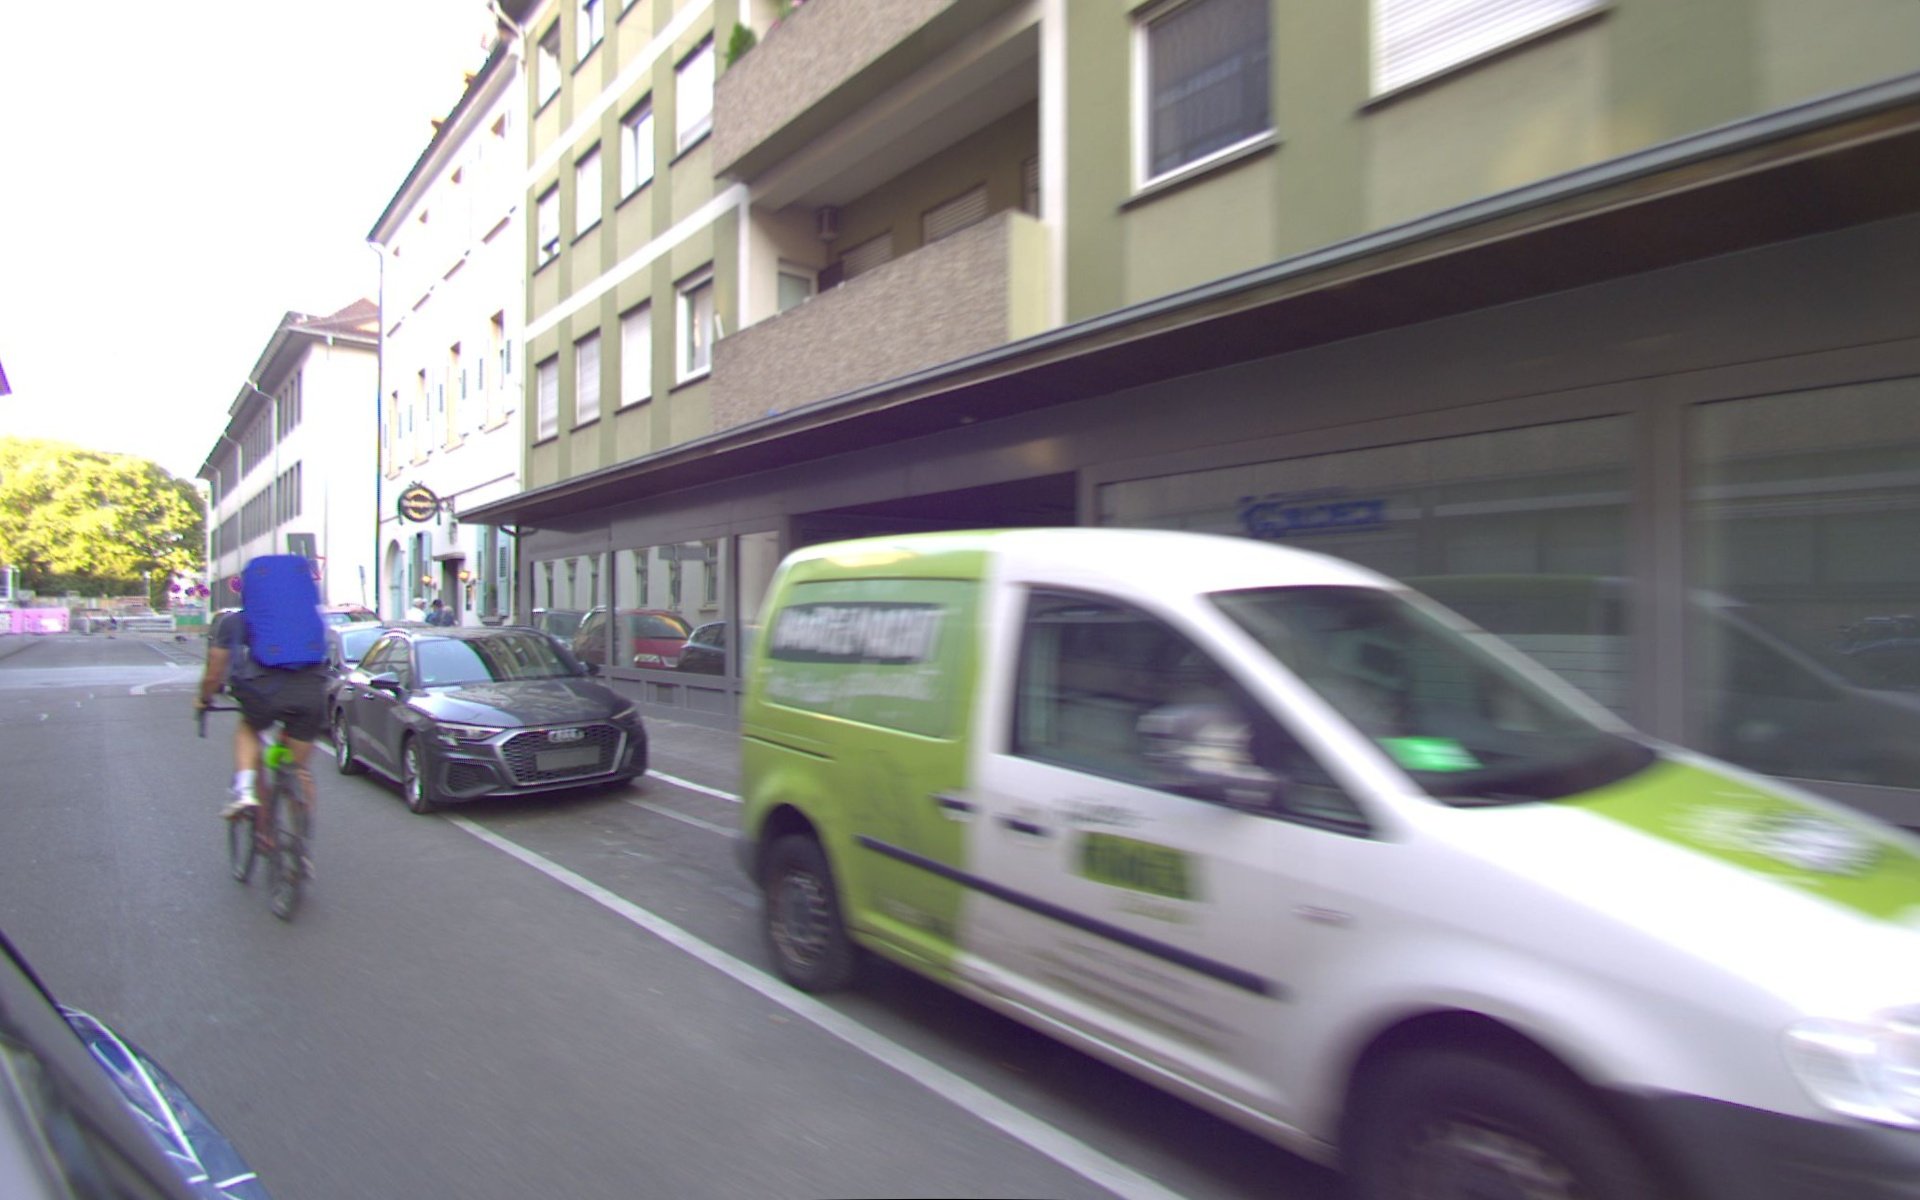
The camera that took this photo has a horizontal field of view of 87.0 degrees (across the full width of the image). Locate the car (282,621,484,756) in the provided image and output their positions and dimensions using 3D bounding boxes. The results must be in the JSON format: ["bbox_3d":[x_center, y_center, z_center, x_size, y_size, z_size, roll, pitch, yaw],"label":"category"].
[{"bbox_3d":[-7.697,1.041,13.334,1.604,1.496,3.884,2,-2,-40],"label":"car"}]

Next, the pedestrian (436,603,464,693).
[{"bbox_3d":[-10.088,0.941,20.028,0.401,1.763,0.471,1,-1,-39],"label":"pedestrian"}]

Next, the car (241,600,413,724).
[{"bbox_3d":[-10.851,0.952,17.192,1.751,1.825,4.516,0,-1,-42],"label":"car"}]

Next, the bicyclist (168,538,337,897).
[{"bbox_3d":[-3.705,0.547,5.274,0.615,1.652,1.083,1,-1,-40],"label":"bicyclist"}]

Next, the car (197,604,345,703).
[{"bbox_3d":[-14.339,1.024,20.970,1.855,1.825,4.454,0,-1,-43],"label":"car"}]

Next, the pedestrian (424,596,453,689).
[{"bbox_3d":[-10.005,0.809,19.418,0.401,1.763,0.471,1,-1,-39],"label":"pedestrian"}]

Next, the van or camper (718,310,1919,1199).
[{"bbox_3d":[0.963,0.556,3.341,1.750,1.862,4.185,2,-2,-40],"label":"van or camper"}]

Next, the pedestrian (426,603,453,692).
[{"bbox_3d":[-10.501,0.948,20.420,0.401,1.763,0.471,1,-1,-39],"label":"pedestrian"}]

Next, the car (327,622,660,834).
[{"bbox_3d":[-4.323,0.934,9.038,1.604,1.426,3.985,0,-1,-42],"label":"car"}]

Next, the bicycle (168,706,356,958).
[{"bbox_3d":[-3.668,1.091,5.254,0.626,0.929,1.782,1,-1,-40],"label":"bicycle"}]

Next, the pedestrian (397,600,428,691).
[{"bbox_3d":[-10.752,0.888,19.881,0.443,1.763,0.471,1,-1,-39],"label":"pedestrian"}]
